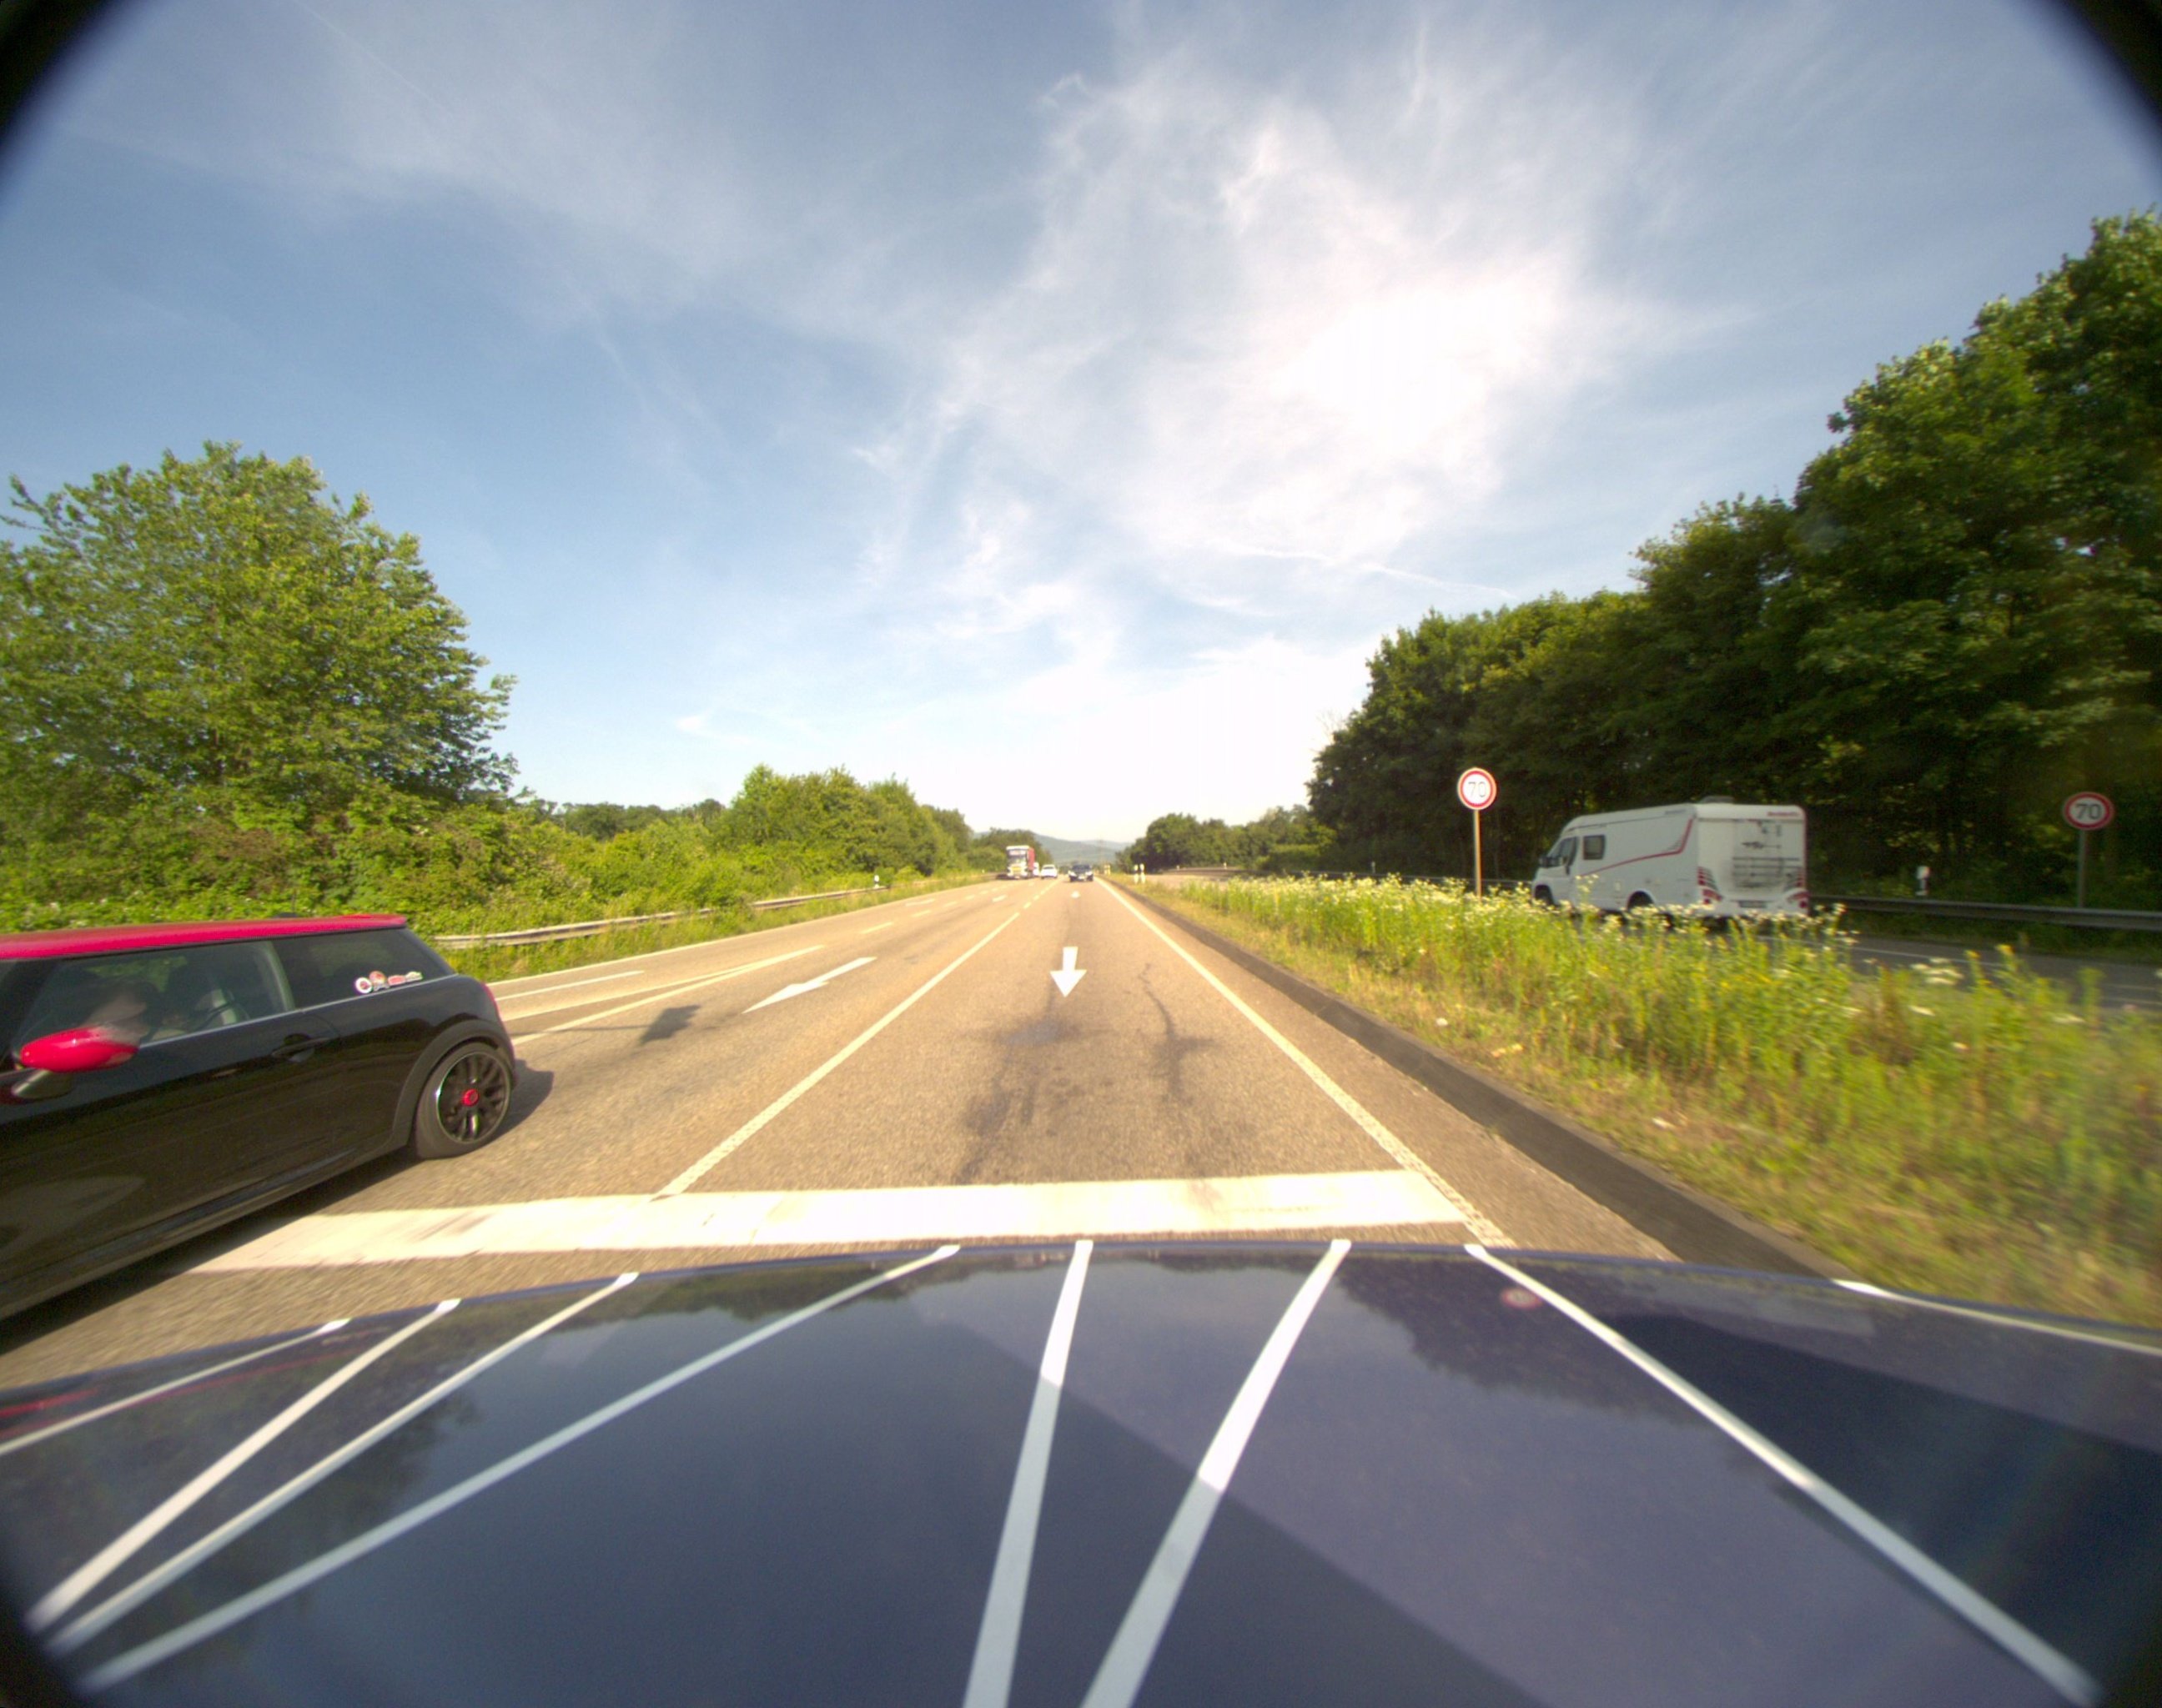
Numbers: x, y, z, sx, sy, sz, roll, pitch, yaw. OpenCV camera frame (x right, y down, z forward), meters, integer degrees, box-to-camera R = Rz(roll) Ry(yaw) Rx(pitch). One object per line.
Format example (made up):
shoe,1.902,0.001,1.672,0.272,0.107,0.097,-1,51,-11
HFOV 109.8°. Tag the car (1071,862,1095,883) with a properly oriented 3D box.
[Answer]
car,0.151,1.472,61.463,1.861,1.452,4.569,-3,0,0

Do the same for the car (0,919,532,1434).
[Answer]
car,-4.408,1.174,2.847,1.824,1.459,3.873,-3,0,0

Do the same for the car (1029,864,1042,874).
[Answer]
car,-7.689,2.489,128.739,1.875,1.625,4.833,0,0,-1

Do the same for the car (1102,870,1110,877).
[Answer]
car,7.191,5.431,215.817,1.999,1.818,4.618,-3,0,-1

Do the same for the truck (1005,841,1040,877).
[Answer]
truck,-7.290,0.619,96.630,3.197,3.995,14.563,-3,0,0

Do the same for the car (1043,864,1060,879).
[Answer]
car,-3.412,2.043,87.924,1.875,1.625,4.833,0,0,-1

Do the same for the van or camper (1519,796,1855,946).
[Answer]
van or camper,12.927,0.314,17.111,2.419,2.695,6.437,1,0,0
